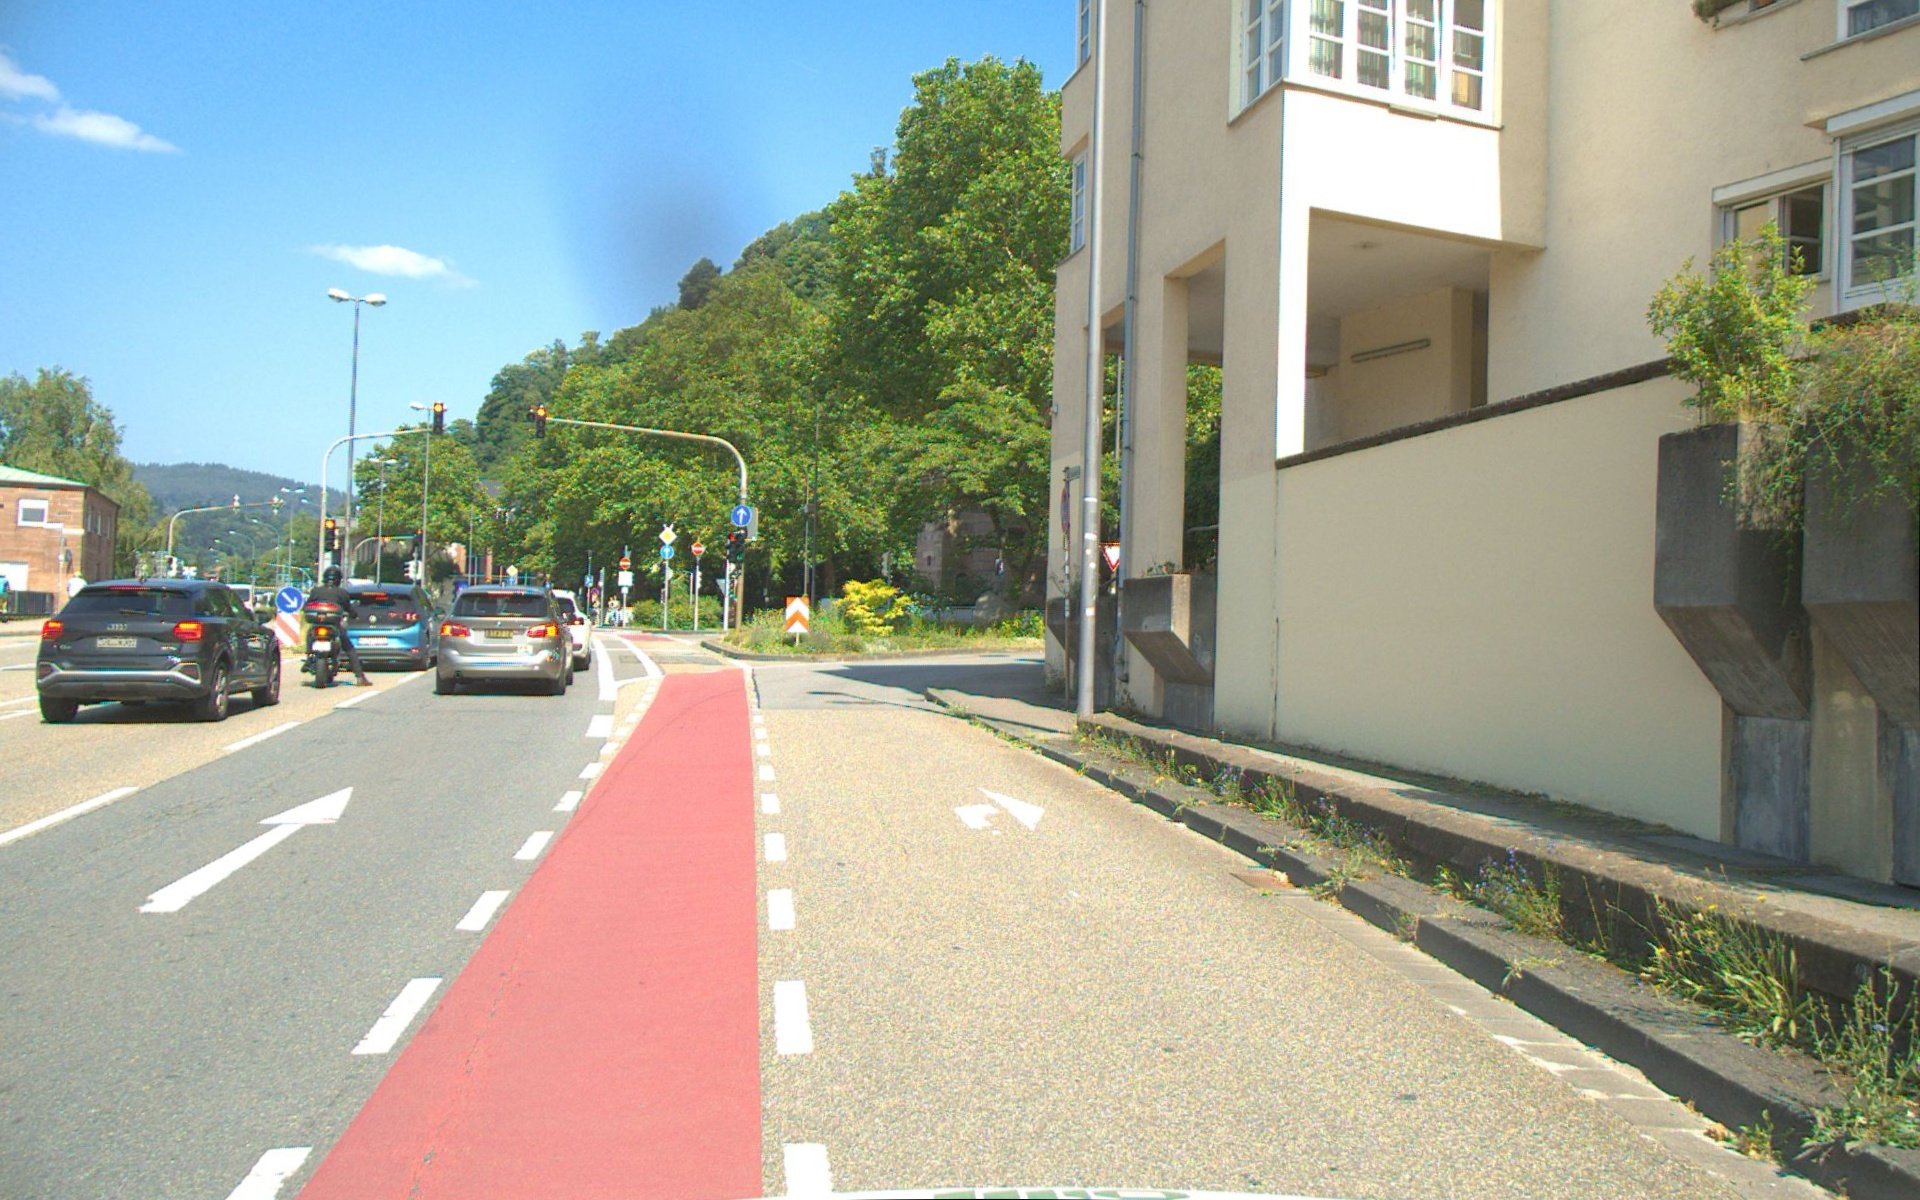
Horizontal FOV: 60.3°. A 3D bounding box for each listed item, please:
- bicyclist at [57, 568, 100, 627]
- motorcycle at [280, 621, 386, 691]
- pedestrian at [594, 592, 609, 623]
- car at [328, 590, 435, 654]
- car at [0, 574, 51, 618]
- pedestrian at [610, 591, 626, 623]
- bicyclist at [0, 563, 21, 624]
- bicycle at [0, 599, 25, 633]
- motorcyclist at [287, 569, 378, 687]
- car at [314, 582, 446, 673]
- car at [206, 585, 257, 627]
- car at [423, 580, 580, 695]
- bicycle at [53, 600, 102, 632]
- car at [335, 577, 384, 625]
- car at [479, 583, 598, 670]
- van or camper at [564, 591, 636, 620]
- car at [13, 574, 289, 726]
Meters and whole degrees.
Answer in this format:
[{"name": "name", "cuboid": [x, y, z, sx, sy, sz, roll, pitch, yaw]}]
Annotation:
[{"name": "bicyclist", "cuboid": [-31.193, -0.098, 58.527, 1.195, 2.049, 1.112, 0, 0, -21]}, {"name": "motorcycle", "cuboid": [-9.352, 0.815, 24.779, 1.019, 0.935, 2.598, 0, 0, -10]}, {"name": "pedestrian", "cuboid": [-20.040, 0.417, 92.464, 0.747, 1.749, 0.794, 0, 0, -5]}, {"name": "car", "cuboid": [-13.298, 0.482, 38.198, 1.834, 1.382, 3.988, 0, 0, -12]}, {"name": "car", "cuboid": [-44.983, -0.190, 76.670, 1.961, 2.049, 4.599, 0, 0, 37]}, {"name": "pedestrian", "cuboid": [-19.141, 0.391, 92.534, 0.747, 1.738, 0.877, 0, 0, -5]}, {"name": "bicyclist", "cuboid": [-32.526, -0.213, 55.904, 1.195, 2.049, 1.112, 0, 0, -21]}, {"name": "bicycle", "cuboid": [-32.503, 0.522, 55.858, 1.195, 1.109, 2.582, 0, 0, -21]}, {"name": "motorcyclist", "cuboid": [-9.321, 0.408, 24.626, 1.056, 1.714, 1.153, 0, 0, -11]}, {"name": "car", "cuboid": [-10.749, 0.467, 30.905, 1.834, 1.589, 3.988, 0, 0, -12]}, {"name": "car", "cuboid": [-38.508, 0.299, 87.484, 2.182, 2.115, 5.012, 0, 1, -21]}, {"name": "car", "cuboid": [-6.766, 0.525, 24.822, 1.854, 1.548, 4.295, 1, 0, -10]}, {"name": "bicycle", "cuboid": [-31.168, 0.552, 58.466, 1.195, 1.109, 2.582, 0, 0, -21]}, {"name": "car", "cuboid": [-33.477, 0.042, 92.169, 2.350, 2.621, 6.014, 0, 0, -22]}, {"name": "car", "cuboid": [-8.112, 0.460, 32.184, 1.958, 1.560, 4.845, 0, 0, -11]}, {"name": "van or camper", "cuboid": [-24.784, 0.386, 113.838, 4.446, 1.935, 2.001, 0, 0, 6]}, {"name": "car", "cuboid": [-9.106, 0.506, 18.994, 1.836, 1.540, 4.139, 0, 0, -11]}]
